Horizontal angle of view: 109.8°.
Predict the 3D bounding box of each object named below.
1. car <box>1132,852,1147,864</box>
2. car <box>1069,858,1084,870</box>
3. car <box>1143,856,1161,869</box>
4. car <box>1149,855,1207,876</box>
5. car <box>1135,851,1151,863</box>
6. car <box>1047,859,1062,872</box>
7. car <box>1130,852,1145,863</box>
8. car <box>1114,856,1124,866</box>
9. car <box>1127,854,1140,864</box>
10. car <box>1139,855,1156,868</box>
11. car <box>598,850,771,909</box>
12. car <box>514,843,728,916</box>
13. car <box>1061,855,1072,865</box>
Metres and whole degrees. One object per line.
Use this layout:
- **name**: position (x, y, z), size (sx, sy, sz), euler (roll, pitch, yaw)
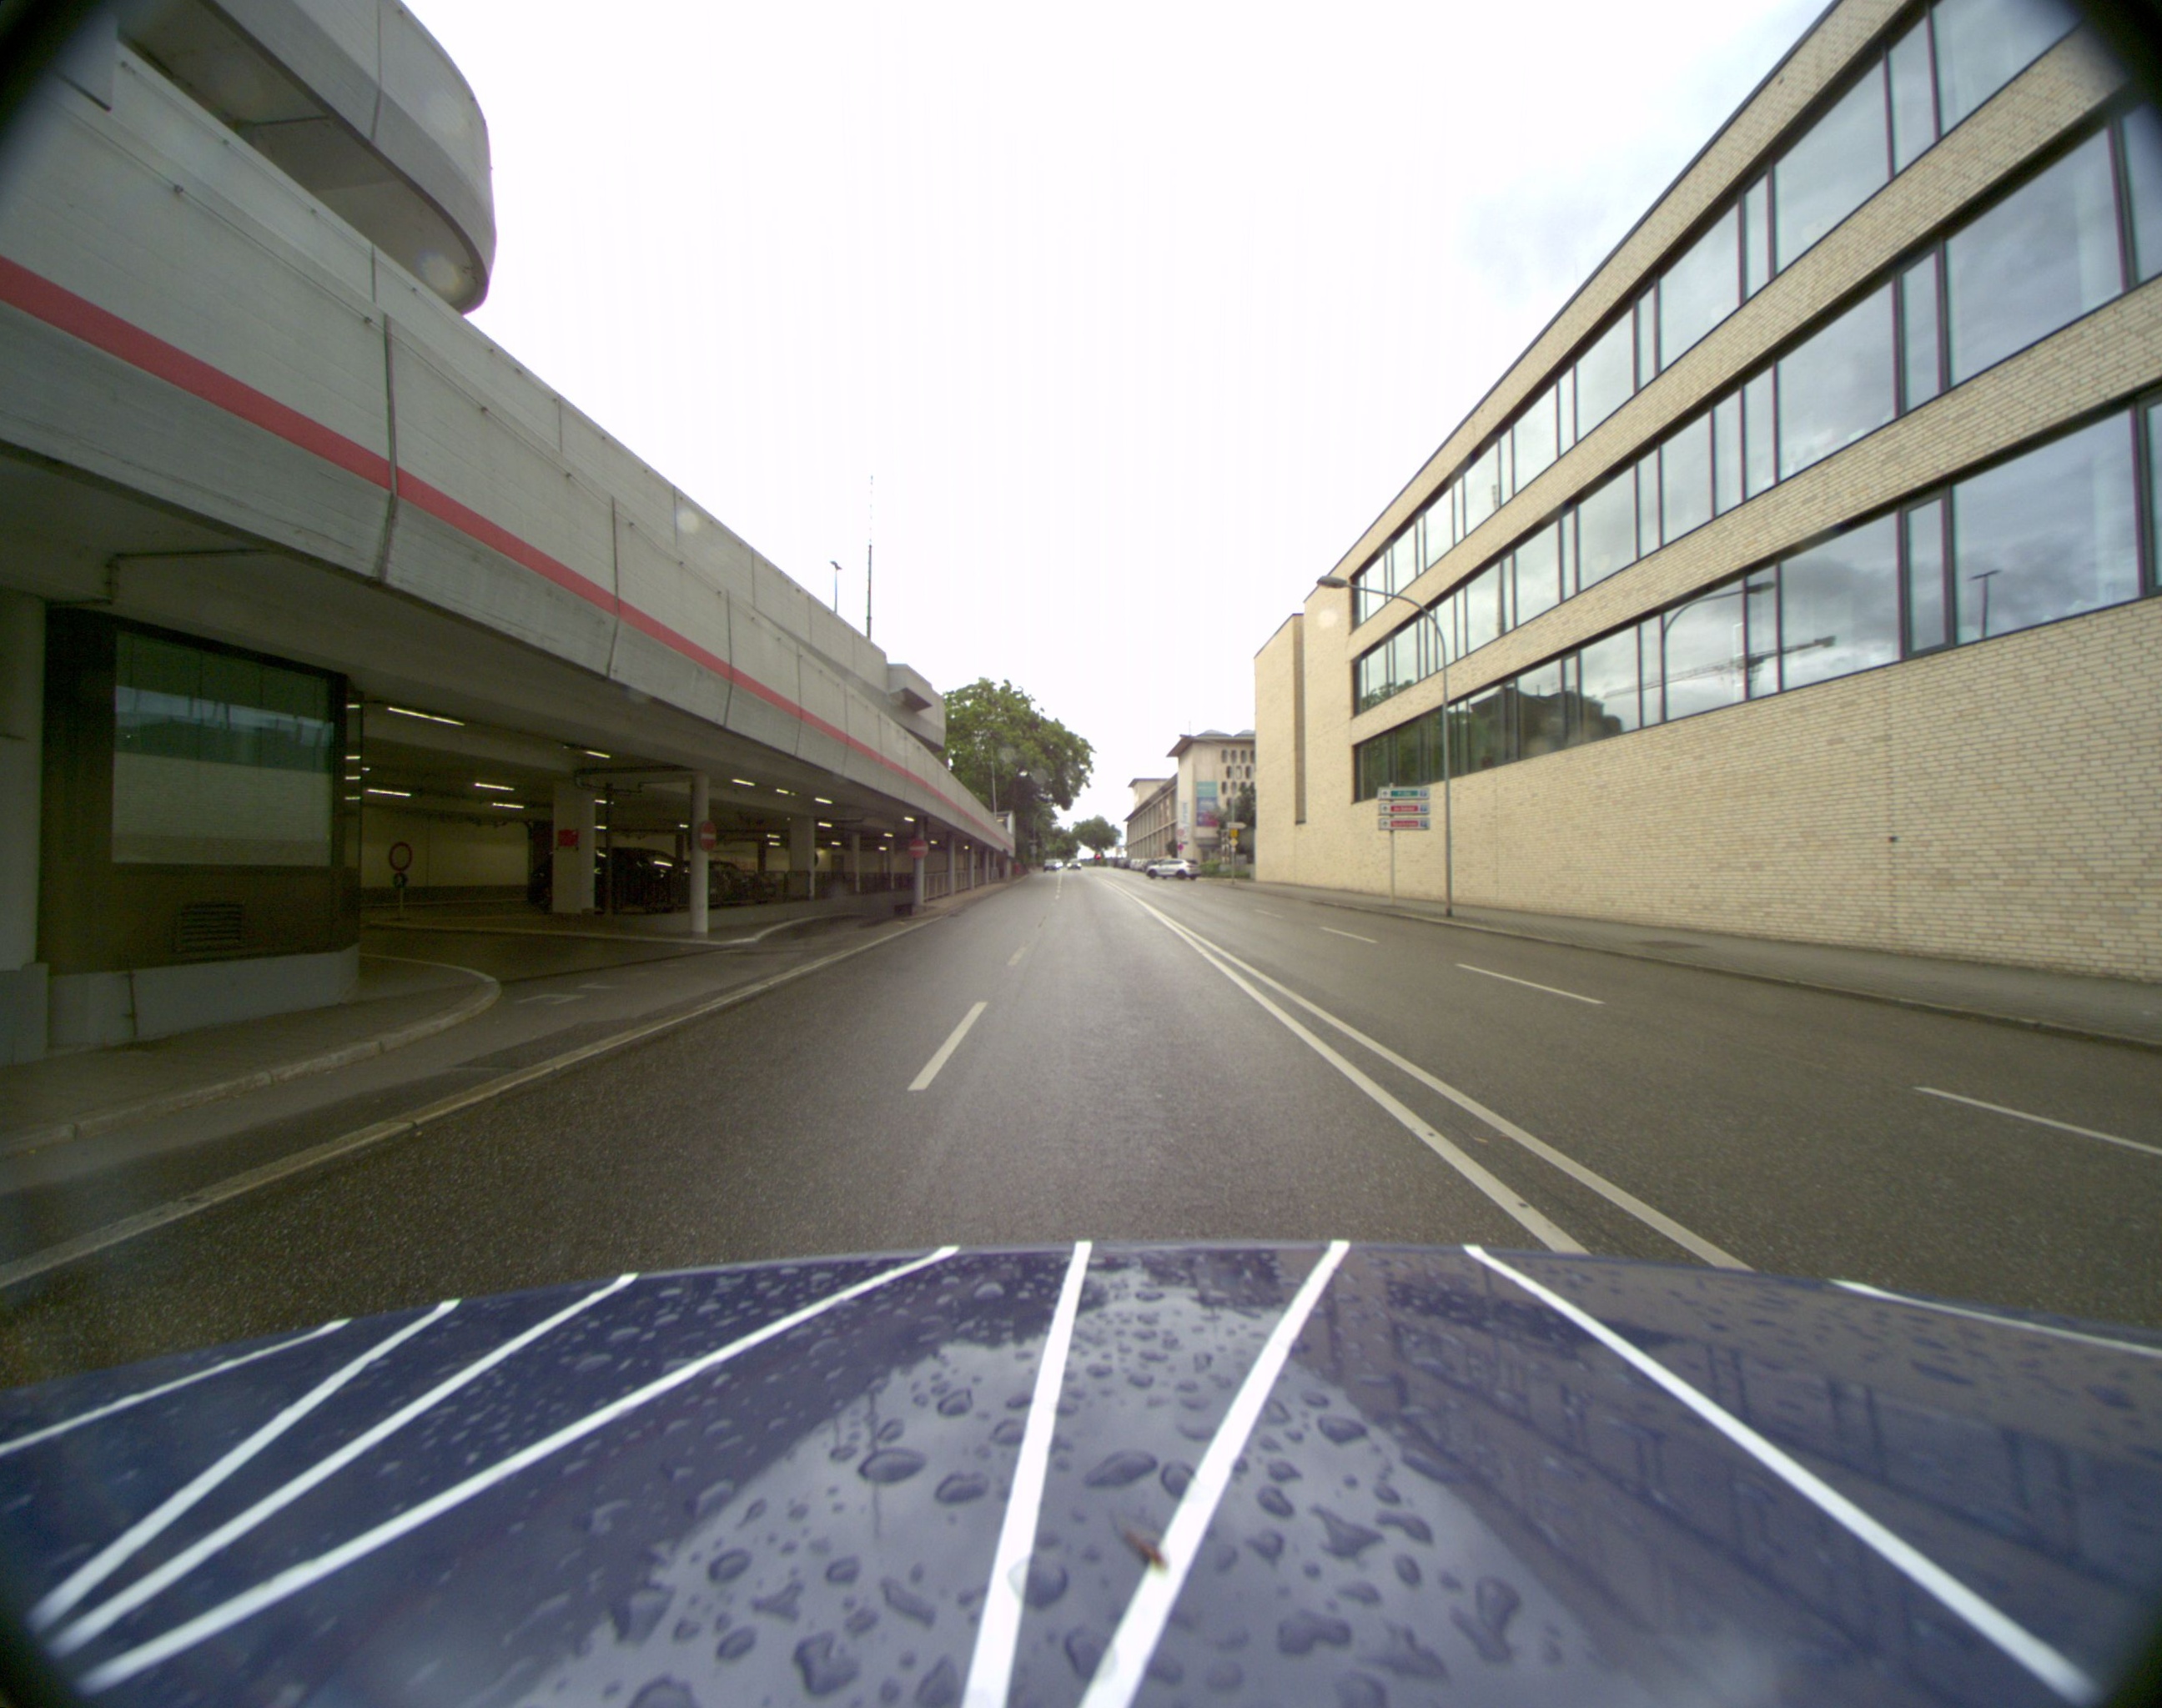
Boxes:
- **car**: position (8.209, 0.578, 106.867), size (1.800, 1.516, 4.056), euler (-2, -1, 1)
- **car**: position (-0.626, 1.398, 105.117), size (1.852, 1.516, 3.990), euler (-2, -1, 1)
- **car**: position (8.499, 1.011, 90.909), size (1.800, 1.516, 4.056), euler (-2, -1, 1)
- **car**: position (7.540, 0.925, 59.380), size (4.045, 1.516, 1.806), euler (-3, -1, 35)
- **car**: position (8.321, 0.472, 101.789), size (1.800, 1.516, 4.056), euler (-2, -1, 1)
- **car**: position (-3.334, 1.392, 95.590), size (1.683, 1.516, 3.990), euler (-2, -1, 1)
- **car**: position (8.360, 0.507, 112.745), size (1.800, 1.516, 4.056), euler (-2, -1, 1)
- **car**: position (7.072, 1.290, 142.605), size (1.698, 1.715, 3.756), euler (-2, 1, 1)
- **car**: position (8.299, 0.834, 121.422), size (1.800, 1.516, 4.056), euler (-2, -1, 1)
- **car**: position (8.456, 0.994, 96.650), size (1.800, 1.516, 4.056), euler (-2, -1, 1)
- **car**: position (-11.922, 0.815, 23.001), size (4.251, 1.650, 2.003), euler (-1, -4, 10)
- **car**: position (-11.391, 0.692, 18.977), size (4.251, 1.650, 2.003), euler (-1, -4, 10)
- **car**: position (-2.692, 1.125, 142.277), size (1.727, 1.628, 3.999), euler (-2, 1, 1)
